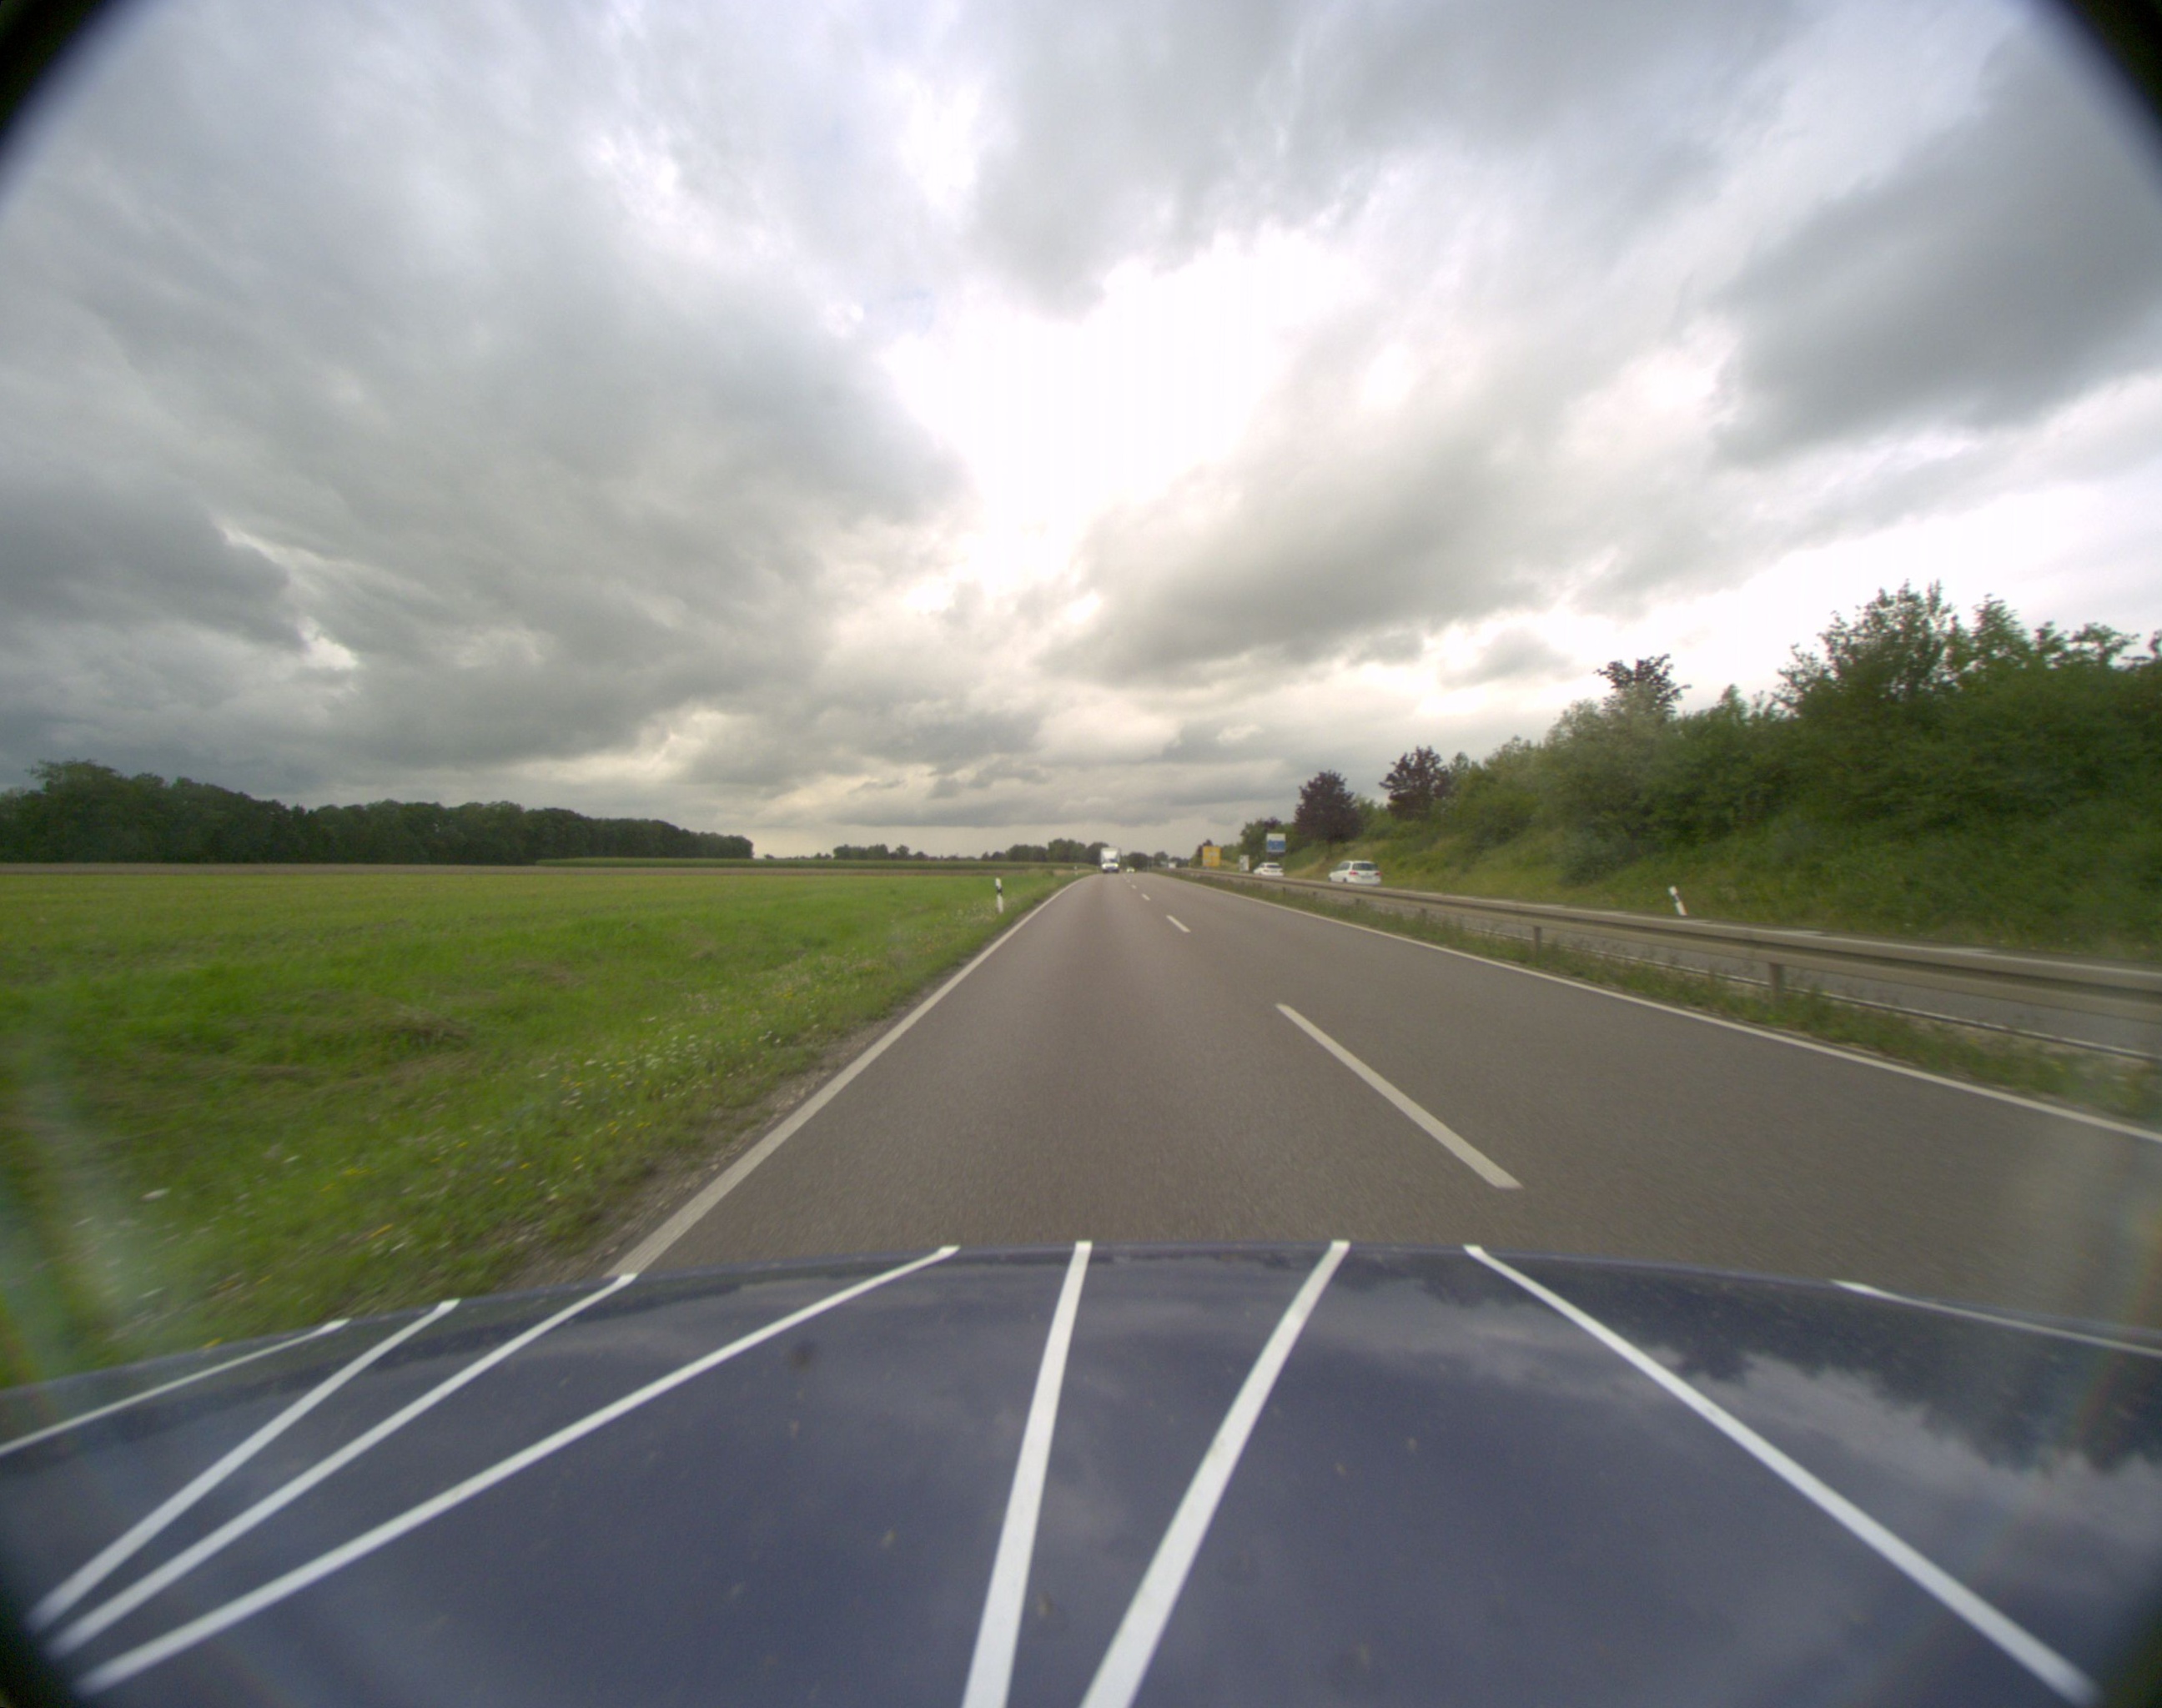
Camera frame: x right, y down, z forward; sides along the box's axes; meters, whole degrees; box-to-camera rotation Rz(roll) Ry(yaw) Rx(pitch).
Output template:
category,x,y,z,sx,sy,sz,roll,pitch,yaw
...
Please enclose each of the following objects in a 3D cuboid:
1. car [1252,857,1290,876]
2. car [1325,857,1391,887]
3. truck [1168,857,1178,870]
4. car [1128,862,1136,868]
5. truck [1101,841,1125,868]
category,x,y,z,sx,sy,sz,roll,pitch,yaw
car,15.653,1.056,62.845,1.998,1.508,4.990,0,-2,1
car,14.668,0.993,40.546,1.925,1.508,4.464,0,-2,1
truck,27.786,2.873,230.269,2.809,3.973,5.290,0,-1,5
car,13.838,2.968,204.548,2.090,1.509,4.196,0,-2,6
truck,4.578,0.194,108.113,2.933,3.651,8.448,0,-1,5
